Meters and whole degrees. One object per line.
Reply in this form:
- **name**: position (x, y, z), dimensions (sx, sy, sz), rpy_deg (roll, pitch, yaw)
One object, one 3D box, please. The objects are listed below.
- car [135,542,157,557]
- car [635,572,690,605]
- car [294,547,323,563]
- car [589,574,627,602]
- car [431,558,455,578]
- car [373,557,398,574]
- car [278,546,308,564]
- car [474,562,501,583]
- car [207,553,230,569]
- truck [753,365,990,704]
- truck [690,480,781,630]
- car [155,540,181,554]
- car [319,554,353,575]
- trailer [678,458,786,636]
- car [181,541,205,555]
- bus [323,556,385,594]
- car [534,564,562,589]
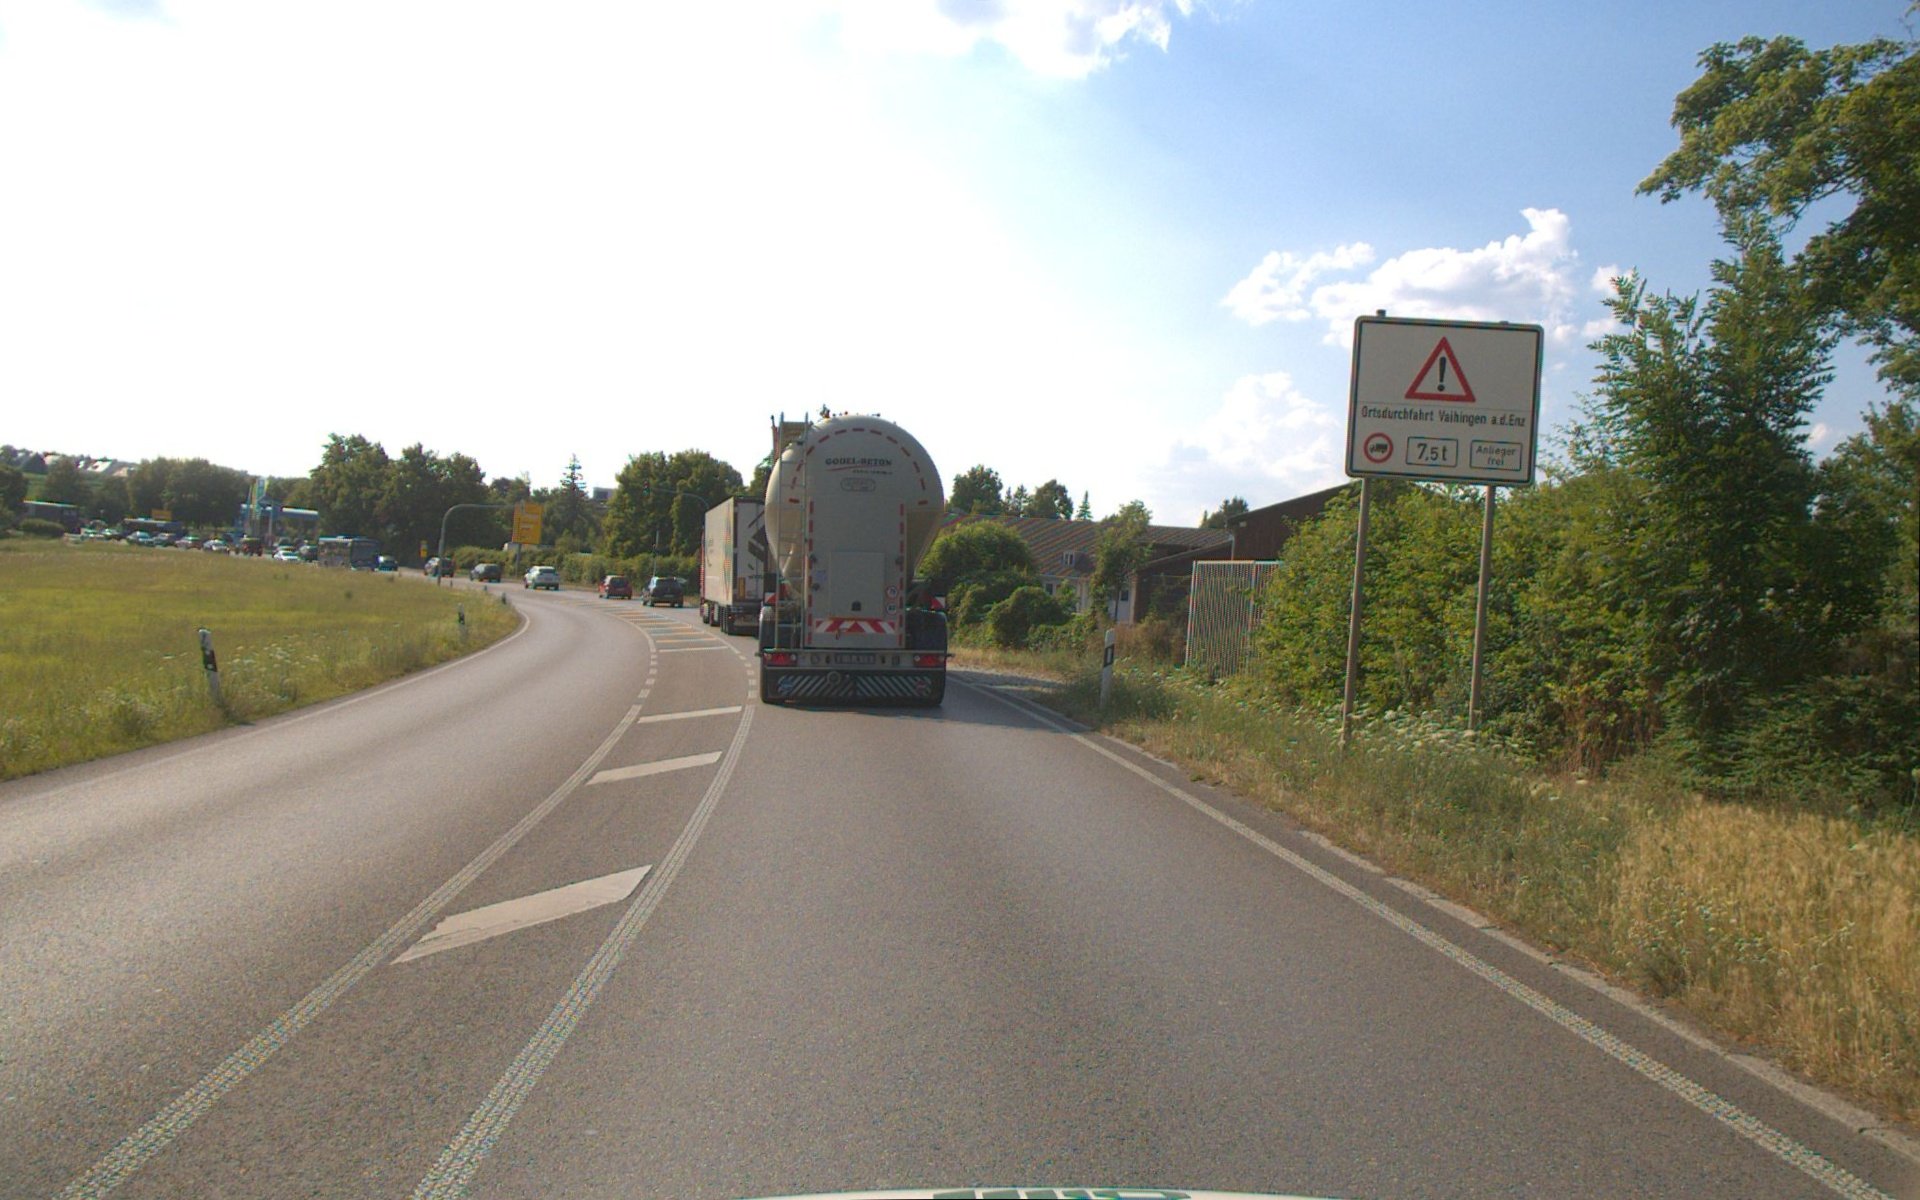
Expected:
- **car**: position (-99.510, -6.163, 202.170), dimensions (1.824, 1.685, 3.954), rpy_deg (2, -1, -33)
- **car**: position (-15.888, -0.613, 88.283), dimensions (1.968, 1.685, 3.969), rpy_deg (2, -1, -25)
- **car**: position (-71.859, -4.940, 182.370), dimensions (2.068, 1.627, 3.952), rpy_deg (2, 1, -35)
- **car**: position (-22.265, -0.719, 104.560), dimensions (2.260, 1.685, 4.400), rpy_deg (2, -1, -13)
- **car**: position (-47.132, -2.932, 150.713), dimensions (1.500, 1.685, 3.840), rpy_deg (2, -1, -26)
- **car**: position (-57.665, -3.452, 166.076), dimensions (1.661, 1.586, 3.833), rpy_deg (2, -1, -30)
- **car**: position (-67.569, -4.514, 167.540), dimensions (1.829, 1.685, 3.945), rpy_deg (2, -1, -38)
- **car**: position (-39.692, -2.297, 138.902), dimensions (1.500, 1.685, 3.840), rpy_deg (2, -1, -26)
- **car**: position (-83.879, -4.409, 187.098), dimensions (1.824, 1.685, 3.954), rpy_deg (2, -1, -33)
- **truck**: position (-1.767, -0.794, 26.937), dimensions (2.919, 4.248, 11.645), rpy_deg (2, 0, -6)
- **truck**: position (-7.978, -1.504, 59.191), dimensions (2.906, 4.972, 6.420), rpy_deg (2, -1, -7)
- **car**: position (-102.031, -6.825, 213.043), dimensions (1.872, 1.627, 3.939), rpy_deg (2, 1, -42)
- **car**: position (-52.310, -2.970, 138.617), dimensions (1.824, 1.685, 3.954), rpy_deg (2, -1, -33)
- **trailer**: position (-7.085, -1.485, 52.191), dimensions (2.908, 4.967, 10.272), rpy_deg (2, -1, -7)
- **car**: position (-97.062, -6.618, 209.245), dimensions (1.868, 1.627, 3.946), rpy_deg (2, 1, -38)
- **bus**: position (-54.591, -2.189, 148.675), dimensions (2.767, 3.237, 11.993), rpy_deg (2, -1, -32)
- **car**: position (-30.498, -1.722, 122.410), dimensions (1.811, 1.685, 3.982), rpy_deg (2, -1, -16)
